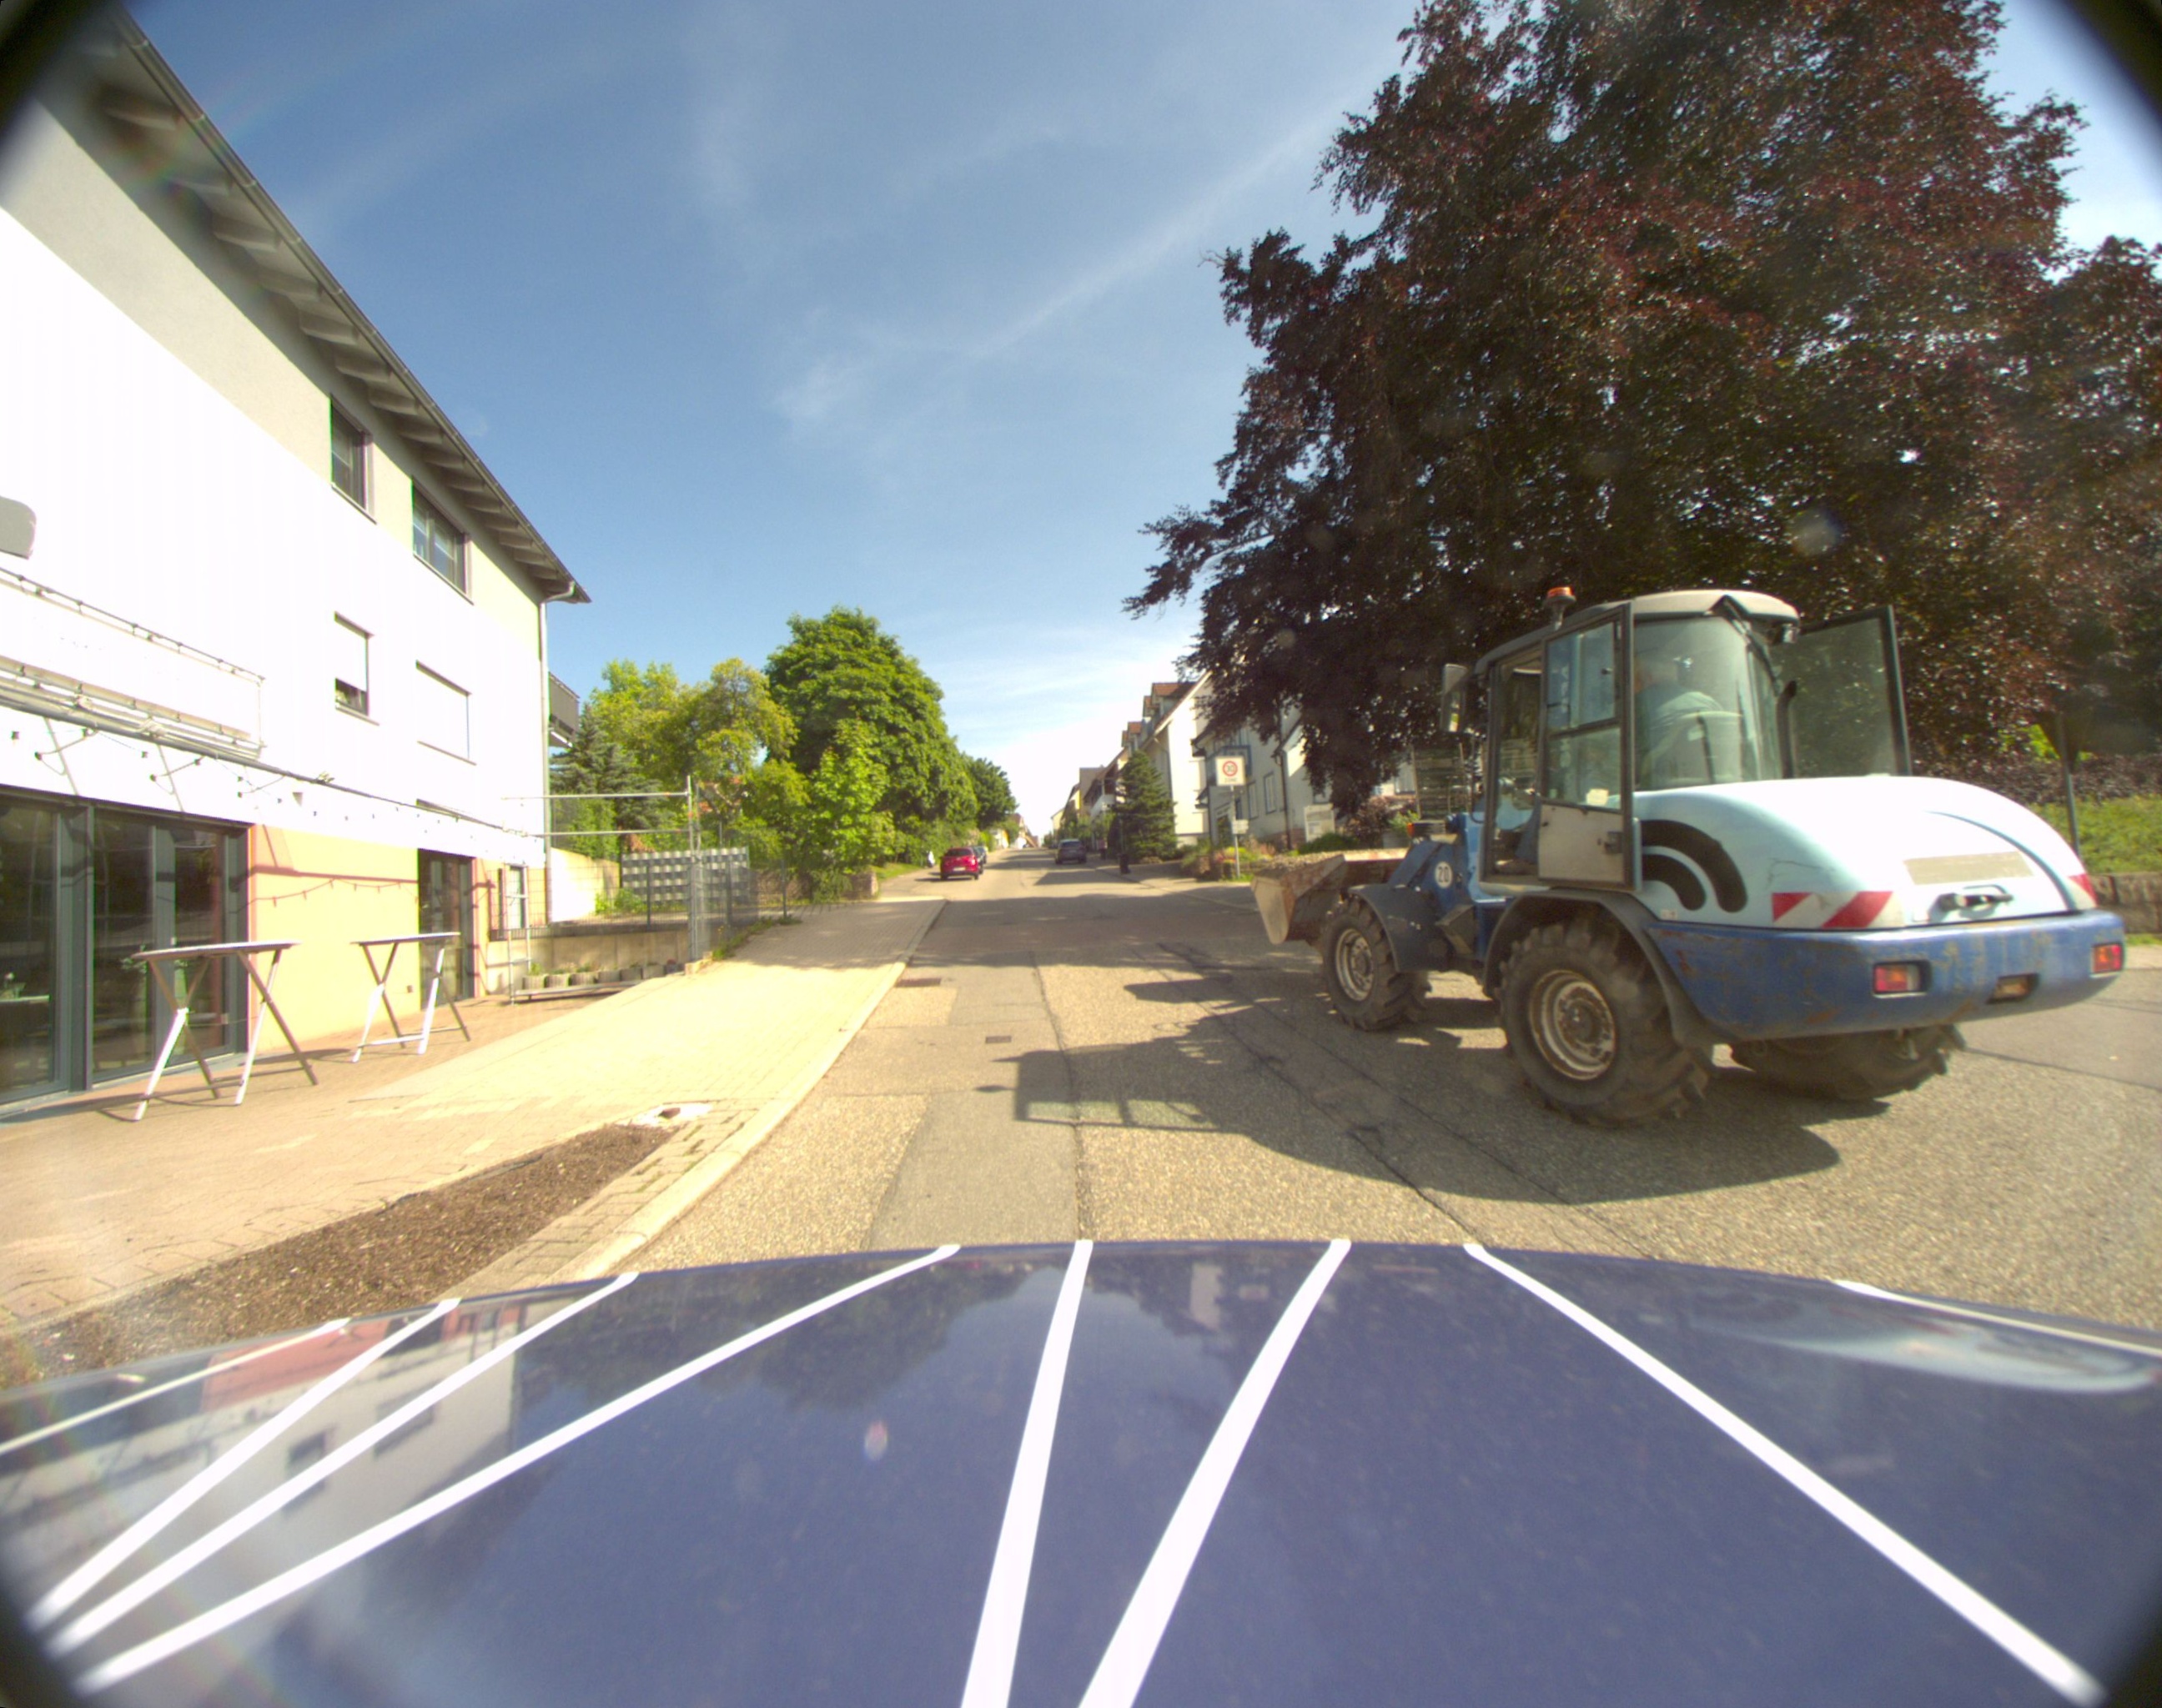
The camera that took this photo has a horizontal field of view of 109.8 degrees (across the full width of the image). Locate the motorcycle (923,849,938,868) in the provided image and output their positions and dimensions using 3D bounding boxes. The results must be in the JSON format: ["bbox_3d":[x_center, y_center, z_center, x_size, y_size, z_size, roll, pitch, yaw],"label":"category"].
[{"bbox_3d":[-9.824,0.267,49.781,0.785,1.175,2.186,-2,1,-7],"label":"motorcycle"}]

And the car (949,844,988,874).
[{"bbox_3d":[-5.993,0.250,40.796,1.776,1.462,3.808,-3,1,-5],"label":"car"}]

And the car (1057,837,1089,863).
[{"bbox_3d":[-0.581,-0.289,51.974,1.808,1.592,3.808,-3,1,-5],"label":"car"}]

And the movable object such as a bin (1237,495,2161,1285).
[{"bbox_3d":[3.056,0.083,5.336,2.000,2.753,5.099,-2,1,-10],"label":"movable object such as a bin"}]

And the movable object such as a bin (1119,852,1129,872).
[{"bbox_3d":[1.884,0.360,32.996,0.351,0.859,0.395,-2,1,-5],"label":"movable object such as a bin"}]

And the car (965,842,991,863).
[{"bbox_3d":[-8.007,-0.136,59.199,1.776,1.462,3.808,-3,1,-5],"label":"car"}]

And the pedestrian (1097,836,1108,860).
[{"bbox_3d":[1.399,-0.386,49.715,0.668,1.566,0.780,-2,2,1],"label":"pedestrian"}]

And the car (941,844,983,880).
[{"bbox_3d":[-5.465,0.339,35.233,1.624,1.489,3.808,-3,1,-5],"label":"car"}]
